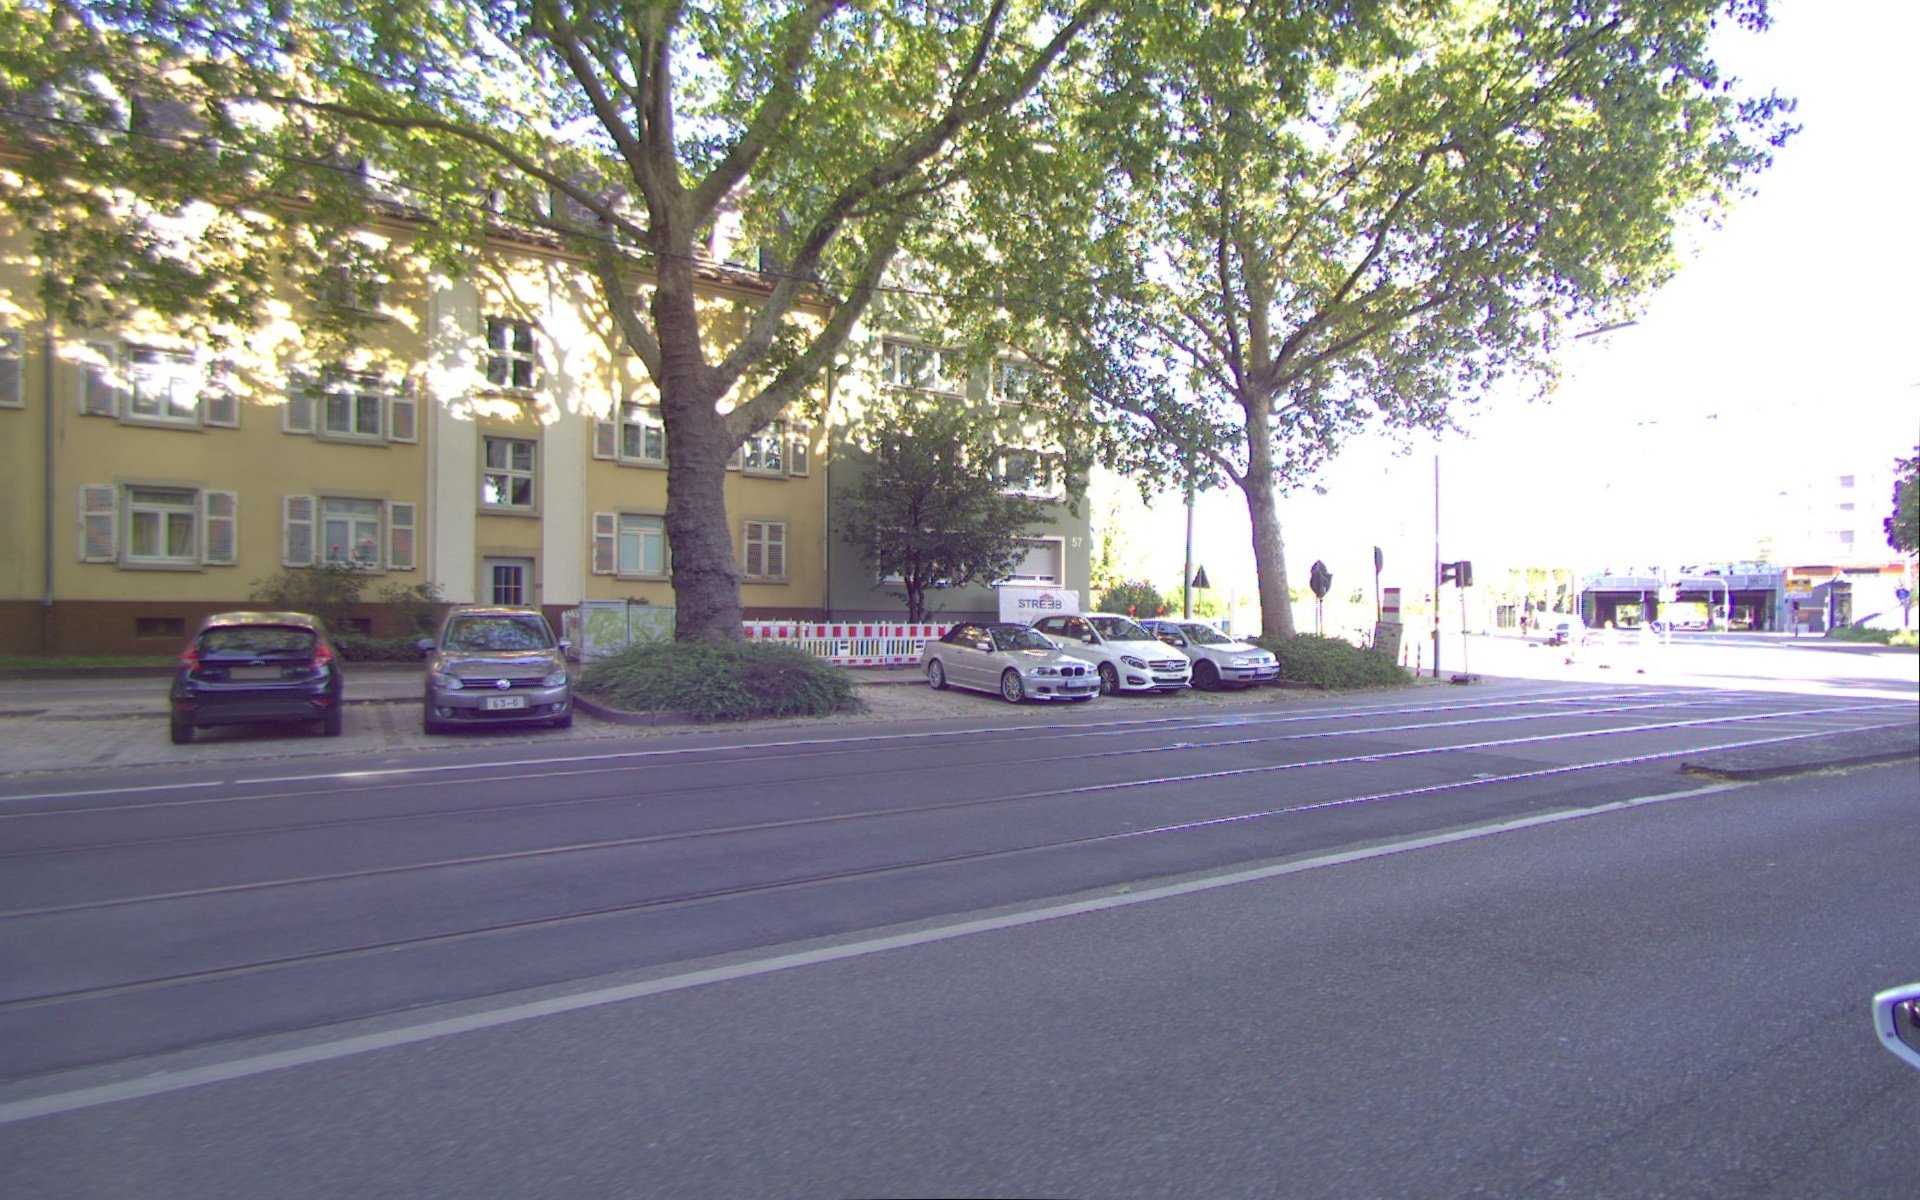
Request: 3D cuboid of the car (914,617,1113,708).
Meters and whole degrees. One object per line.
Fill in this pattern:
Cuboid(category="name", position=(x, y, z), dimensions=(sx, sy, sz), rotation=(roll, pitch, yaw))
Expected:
Cuboid(category="car", position=(0.873, 1.081, 18.923), dimensions=(1.708, 1.386, 4.220), rotation=(1, 0, -31))

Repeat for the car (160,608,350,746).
Cuboid(category="car", position=(-8.825, 0.858, 12.841), dimensions=(1.723, 1.449, 3.545), rotation=(1, 0, -31))

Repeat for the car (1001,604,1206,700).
Cuboid(category="car", position=(2.835, 0.981, 20.955), dimensions=(1.777, 1.640, 4.587), rotation=(1, 1, -30))

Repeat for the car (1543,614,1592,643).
Cuboid(category="car", position=(35.254, 1.657, 58.229), dimensions=(1.803, 1.539, 3.876), rotation=(3, 1, 40))

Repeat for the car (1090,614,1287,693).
Cuboid(category="car", position=(4.921, 1.098, 22.288), dimensions=(1.656, 1.448, 4.490), rotation=(1, 0, -30))

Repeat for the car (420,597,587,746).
Cuboid(category="car", position=(-6.462, 0.840, 13.956), dimensions=(1.793, 1.627, 4.169), rotation=(1, 1, -29))

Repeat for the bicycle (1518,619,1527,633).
Cuboid(category="bicycle", position=(45.251, 2.100, 80.767), dimensions=(0.572, 1.075, 2.039), rotation=(0, -1, 28))
